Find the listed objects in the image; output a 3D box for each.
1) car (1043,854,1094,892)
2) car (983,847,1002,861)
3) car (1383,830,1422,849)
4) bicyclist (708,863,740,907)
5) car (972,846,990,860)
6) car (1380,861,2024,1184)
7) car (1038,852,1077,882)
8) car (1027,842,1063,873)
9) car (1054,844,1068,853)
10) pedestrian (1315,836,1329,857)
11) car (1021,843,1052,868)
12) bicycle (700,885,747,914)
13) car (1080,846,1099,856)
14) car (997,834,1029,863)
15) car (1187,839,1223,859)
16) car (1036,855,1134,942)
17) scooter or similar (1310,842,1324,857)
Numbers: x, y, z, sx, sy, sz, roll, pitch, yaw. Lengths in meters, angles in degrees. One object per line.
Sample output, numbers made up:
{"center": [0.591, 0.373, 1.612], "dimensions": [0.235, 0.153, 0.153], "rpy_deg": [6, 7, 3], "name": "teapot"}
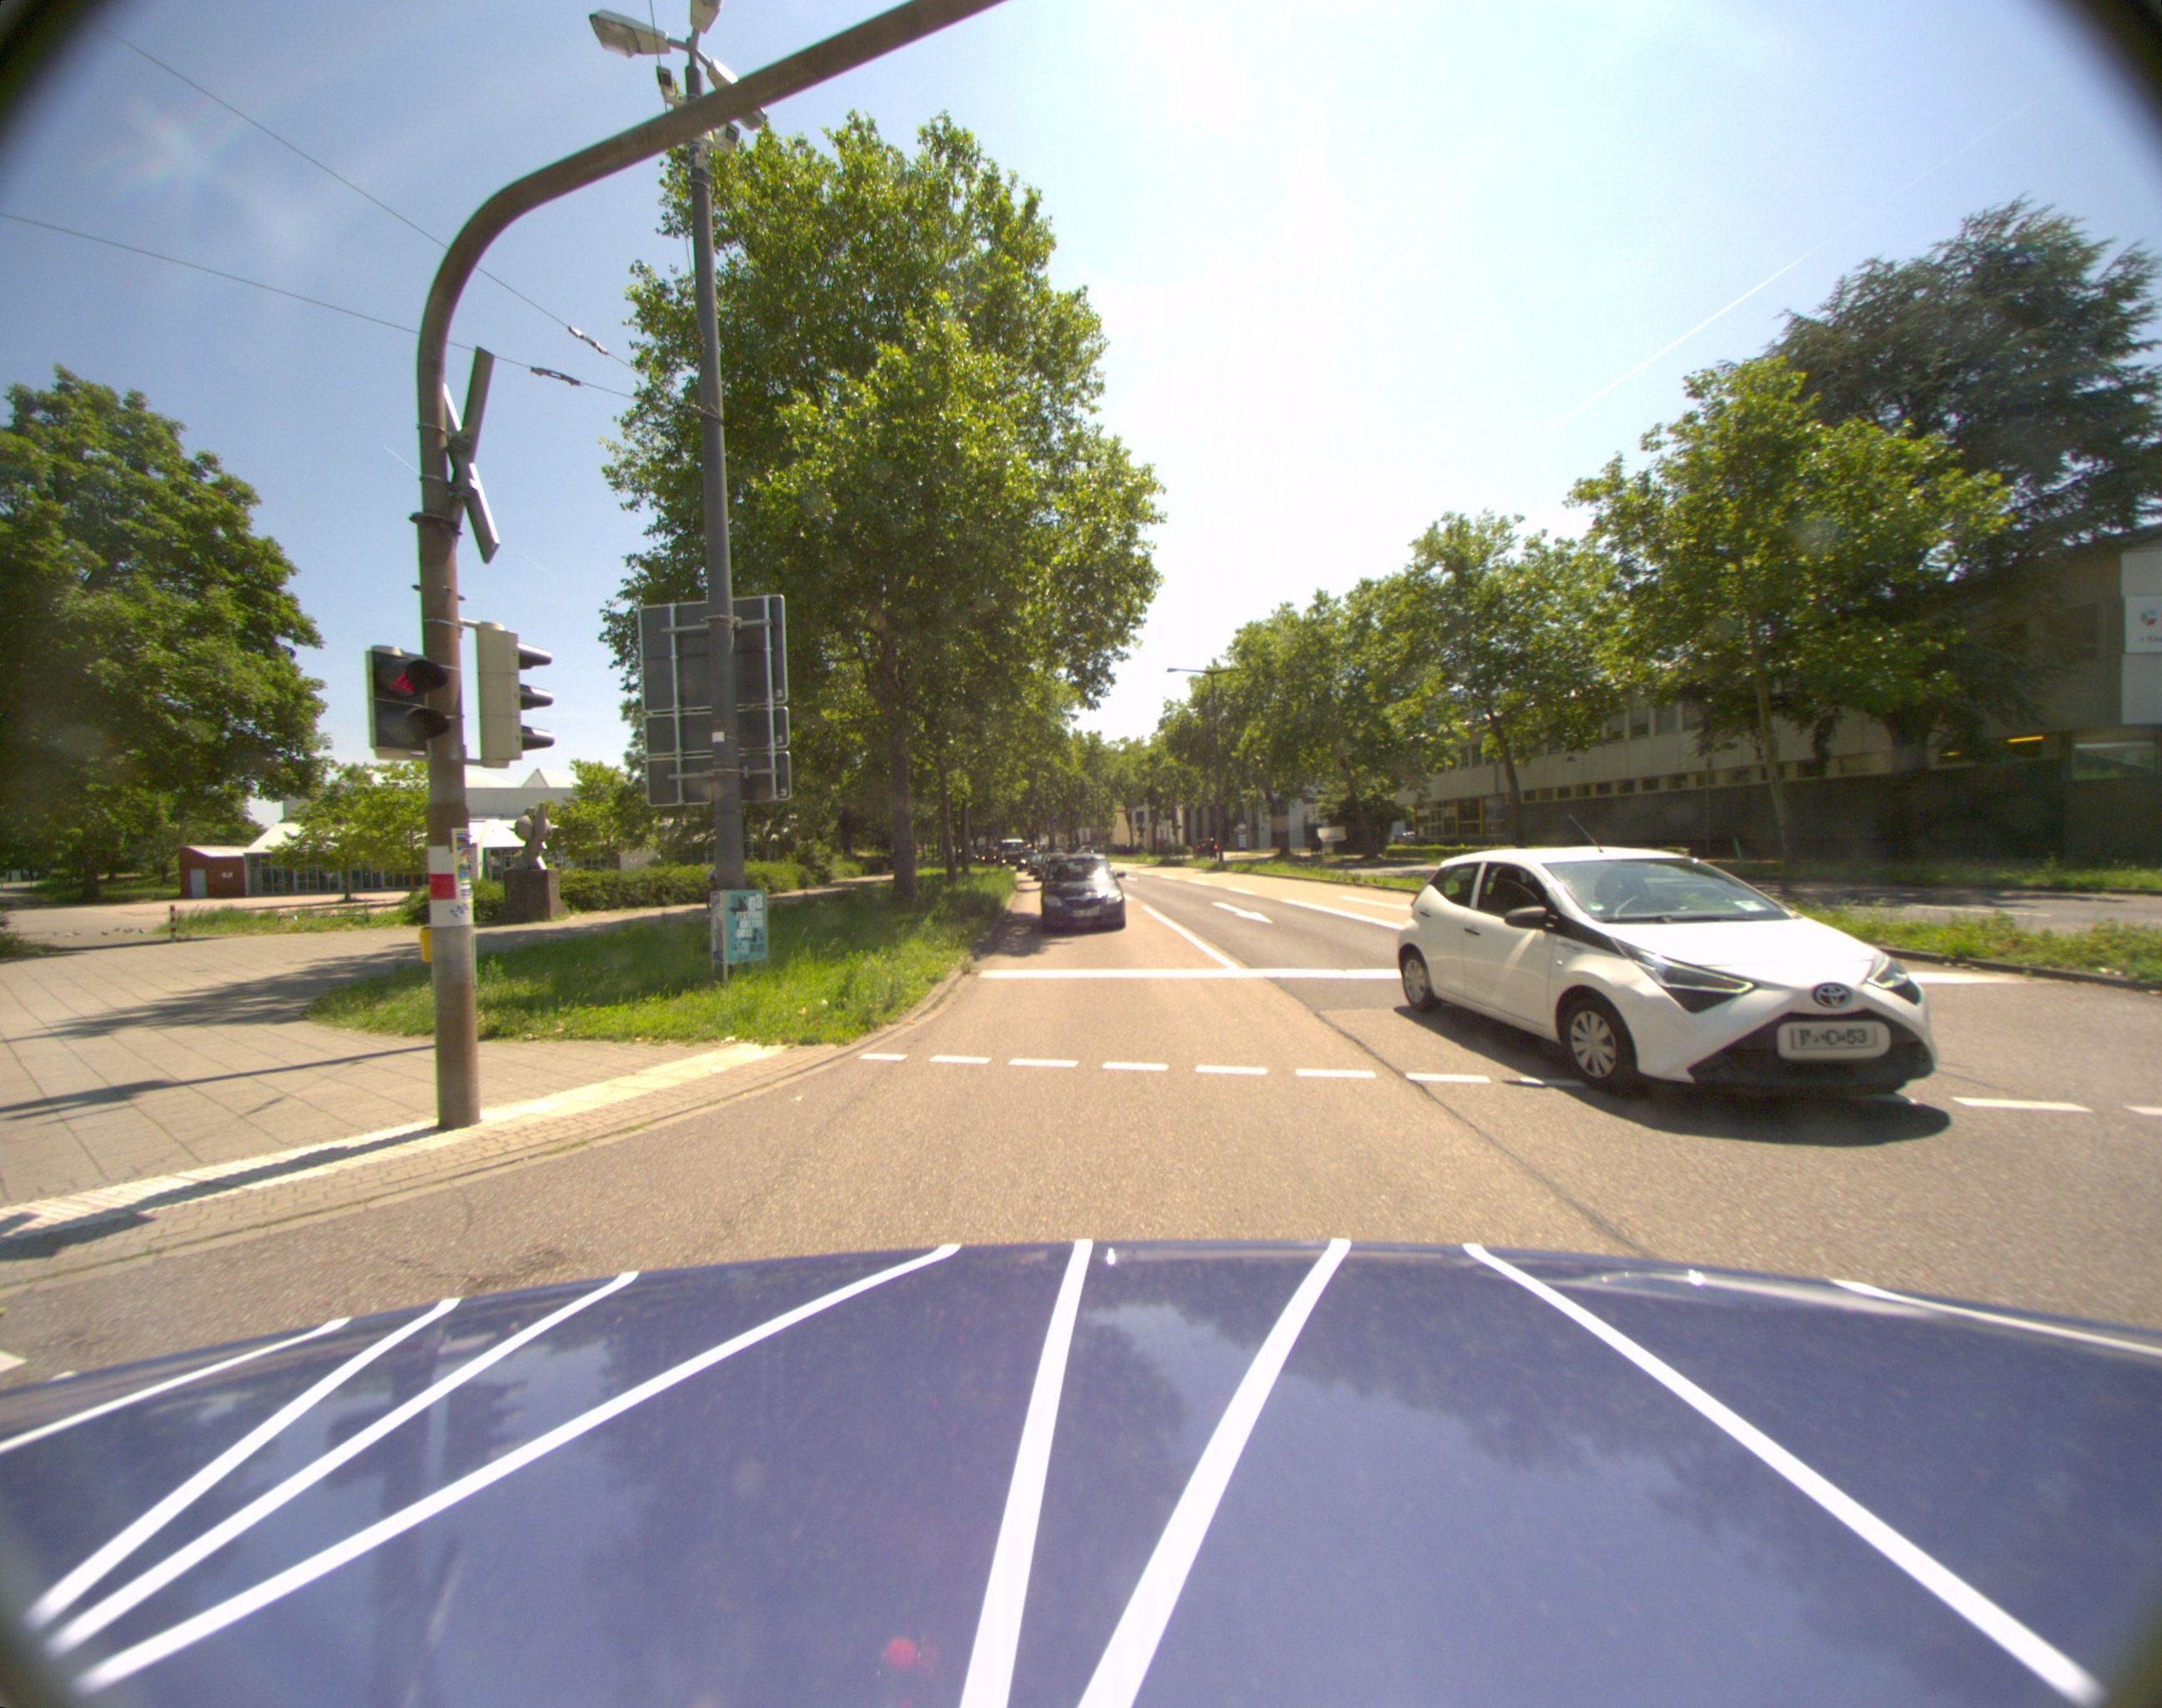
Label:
{"center": [-0.587, 0.721, 30.974], "dimensions": [1.792, 1.325, 3.740], "rpy_deg": [-3, 1, -4], "name": "car"}
{"center": [-10.960, -0.017, 93.741], "dimensions": [2.000, 1.608, 3.996], "rpy_deg": [-2, 1, -11], "name": "car"}
{"center": [28.879, -1.308, 68.325], "dimensions": [1.820, 1.638, 3.526], "rpy_deg": [-3, 1, -2], "name": "car"}
{"center": [-11.166, 0.964, 23.760], "dimensions": [0.600, 1.331, 0.666], "rpy_deg": [-2, 1, 8], "name": "bicyclist"}
{"center": [-13.914, -0.162, 105.859], "dimensions": [2.001, 1.827, 3.995], "rpy_deg": [-2, 1, -14], "name": "car"}
{"center": [3.740, 0.831, 5.504], "dimensions": [1.623, 1.437, 3.650], "rpy_deg": [-2, 1, -1], "name": "car"}
{"center": [-1.258, 0.642, 39.675], "dimensions": [1.879, 1.448, 3.783], "rpy_deg": [0, 1, -4], "name": "car"}
{"center": [-2.330, 0.196, 48.513], "dimensions": [2.000, 1.871, 3.997], "rpy_deg": [-2, 1, -7], "name": "car"}
{"center": [-3.372, -0.960, 130.262], "dimensions": [1.738, 1.451, 3.669], "rpy_deg": [-2, 1, -11], "name": "car"}
{"center": [18.661, -0.593, 58.824], "dimensions": [0.644, 1.551, 0.790], "rpy_deg": [-2, 1, -11], "name": "pedestrian"}
{"center": [-3.353, 0.084, 56.564], "dimensions": [2.000, 1.783, 3.997], "rpy_deg": [-2, 1, -7], "name": "car"}
{"center": [-11.152, 1.401, 23.737], "dimensions": [0.464, 0.760, 1.669], "rpy_deg": [-2, 1, 7], "name": "bicycle"}
{"center": [1.160, -0.483, 111.106], "dimensions": [1.860, 1.410, 4.542], "rpy_deg": [-2, 1, -11], "name": "car"}
{"center": [-6.793, -0.548, 75.254], "dimensions": [2.919, 2.639, 6.362], "rpy_deg": [-2, 1, -6], "name": "car"}
{"center": [10.972, -0.413, 67.547], "dimensions": [1.917, 1.669, 4.440], "rpy_deg": [-2, 1, -7], "name": "car"}
{"center": [-0.025, 0.814, 15.958], "dimensions": [1.654, 1.454, 3.863], "rpy_deg": [-4, 1, -4], "name": "car"}
{"center": [18.517, -0.376, 59.642], "dimensions": [0.680, 1.157, 0.858], "rpy_deg": [-2, 1, -10], "name": "scooter or similar"}
